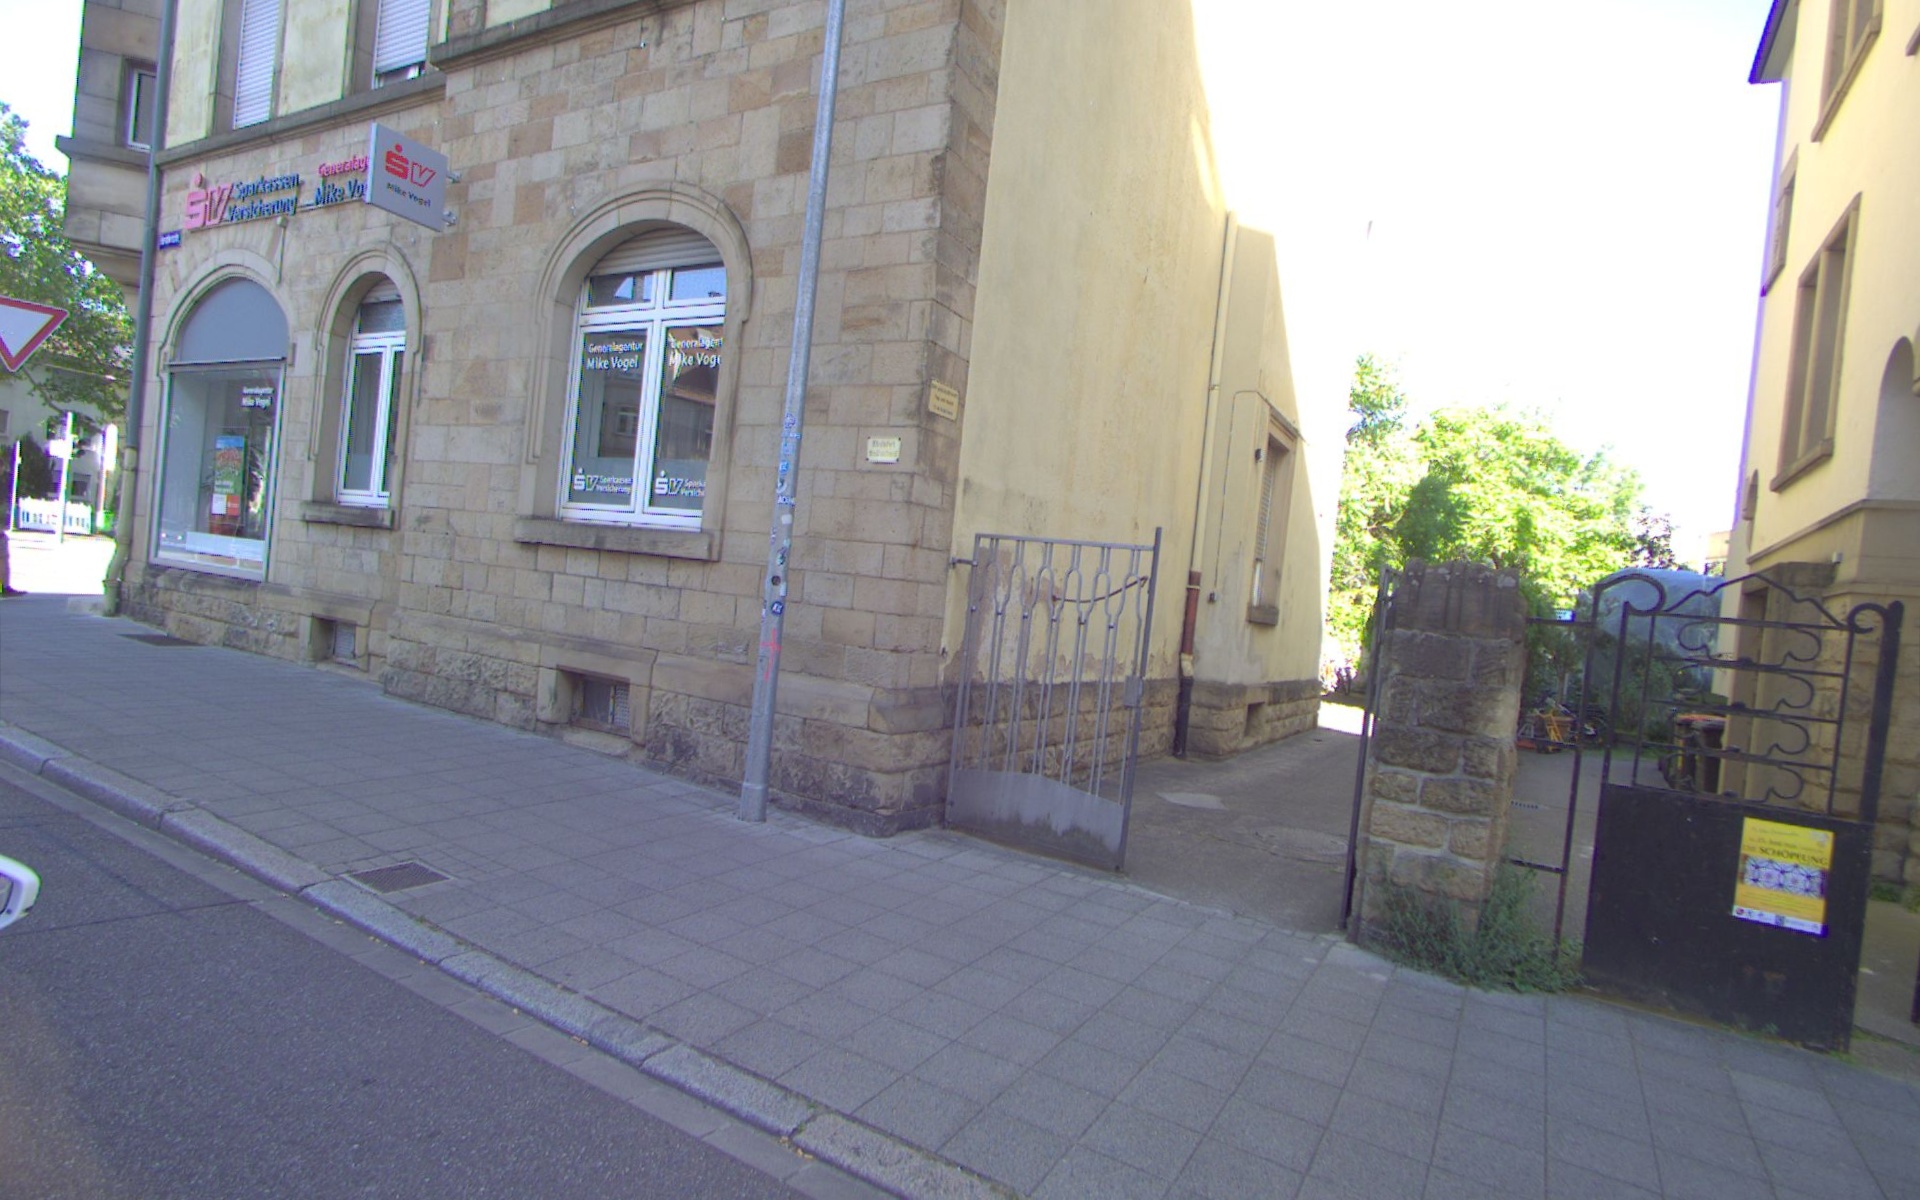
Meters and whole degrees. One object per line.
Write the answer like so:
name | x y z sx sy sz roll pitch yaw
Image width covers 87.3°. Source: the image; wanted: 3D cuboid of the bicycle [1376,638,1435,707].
bicycle | 11.211 1.775 25.253 0.904 1.532 2.667 6 2 31

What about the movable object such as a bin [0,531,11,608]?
movable object such as a bin | -11.809 -0.383 11.779 0.500 0.904 0.863 7 3 19

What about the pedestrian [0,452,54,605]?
pedestrian | -12.090 -0.907 12.431 0.734 1.874 1.068 6 4 14

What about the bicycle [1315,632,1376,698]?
bicycle | 9.978 1.640 25.969 0.904 1.532 2.667 6 2 31

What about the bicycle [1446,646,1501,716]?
bicycle | 12.596 1.934 24.639 0.904 1.532 2.667 6 2 31
